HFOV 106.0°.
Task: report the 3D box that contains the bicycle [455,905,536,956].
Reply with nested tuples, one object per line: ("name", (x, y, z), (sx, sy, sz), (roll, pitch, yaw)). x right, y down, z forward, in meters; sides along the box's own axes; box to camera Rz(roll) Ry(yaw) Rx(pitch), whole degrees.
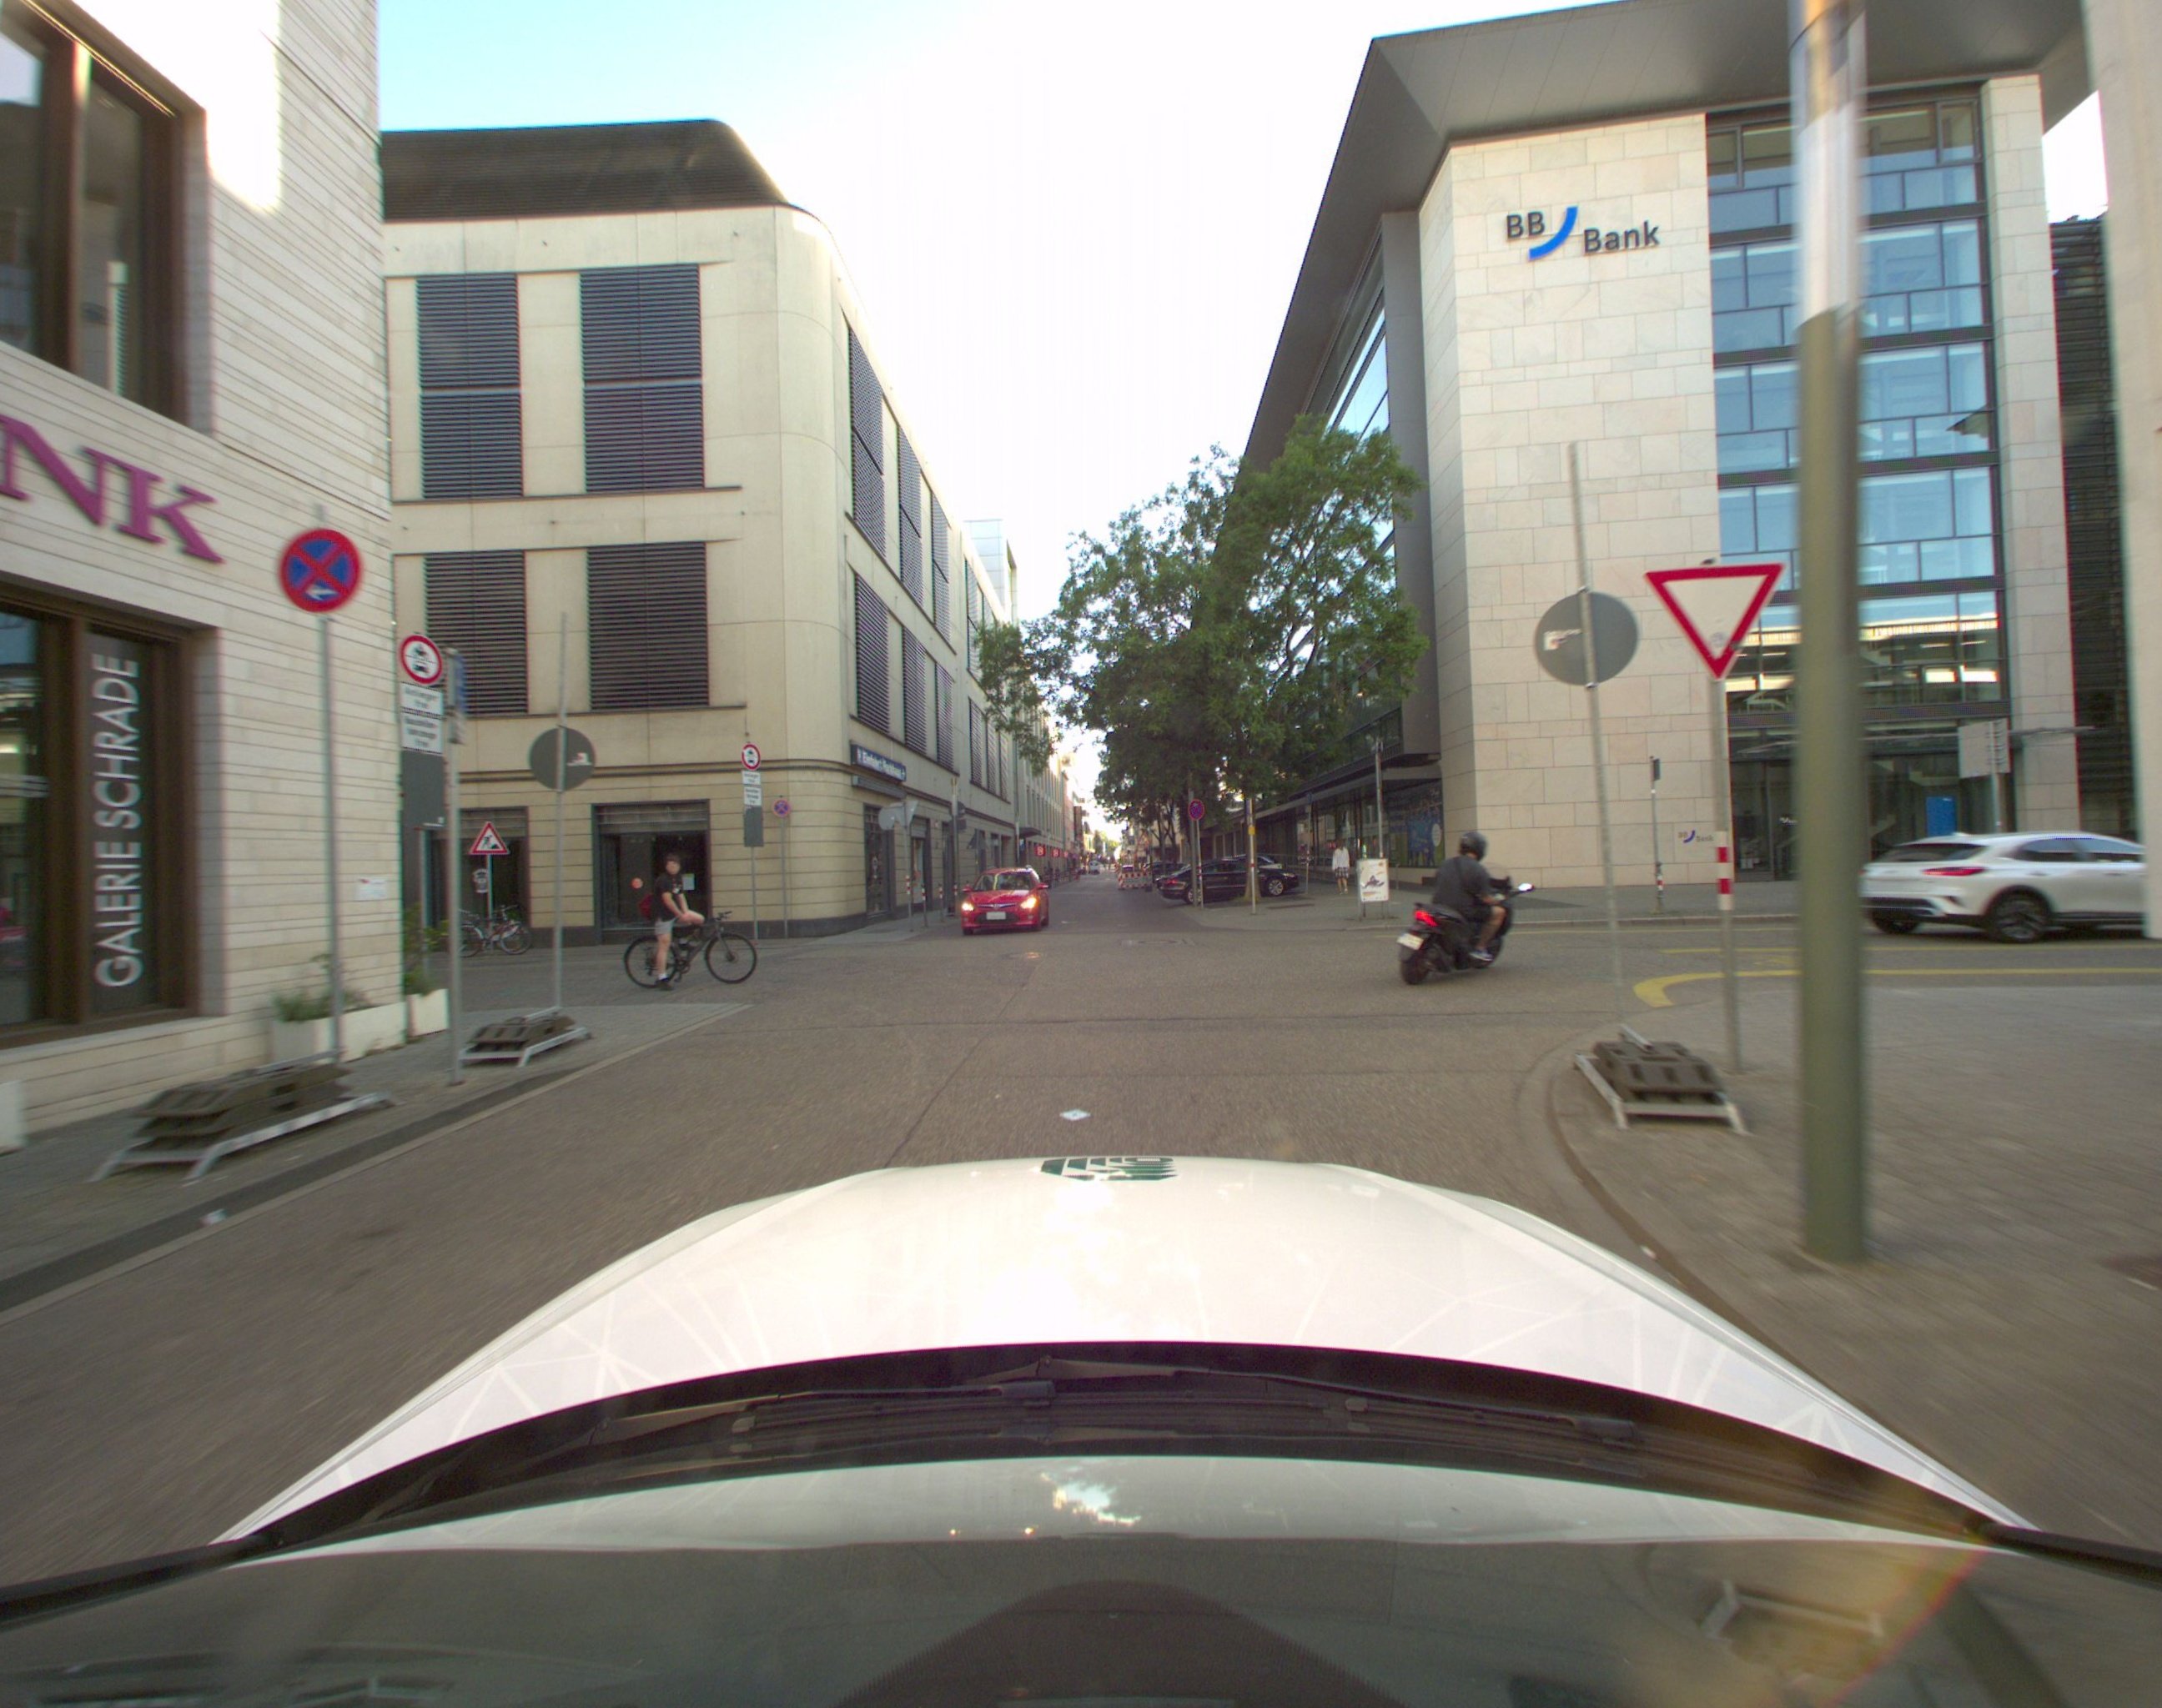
("bicycle", (-13.462, 1.747, 18.767), (0.348, 1.033, 1.527), (-3, -1, 23))

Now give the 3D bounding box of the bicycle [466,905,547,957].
("bicycle", (-13.107, 1.732, 18.625), (0.348, 1.033, 1.527), (-3, -1, 23))

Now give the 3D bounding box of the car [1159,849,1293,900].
("car", (5.830, 0.830, 33.159), (4.988, 1.499, 2.000), (-6, -1, 0))

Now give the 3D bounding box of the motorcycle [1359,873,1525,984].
("motorcycle", (4.101, 0.787, 9.219), (1.847, 1.109, 0.866), (0, -2, -35))

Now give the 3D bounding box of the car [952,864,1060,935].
("car", (-1.663, 1.056, 19.561), (1.814, 1.465, 4.268), (-2, -2, 5))

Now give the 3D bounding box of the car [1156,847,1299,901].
("car", (5.465, 0.759, 30.901), (4.988, 1.499, 2.000), (-6, -1, 0))

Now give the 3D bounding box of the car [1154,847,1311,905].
("car", (5.192, 0.772, 28.422), (4.988, 1.452, 2.000), (-6, -1, 0))

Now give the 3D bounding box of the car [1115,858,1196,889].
("car", (4.779, 1.275, 52.790), (4.988, 1.499, 2.000), (-6, -1, 0))

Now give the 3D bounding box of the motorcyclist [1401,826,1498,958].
("motorcyclist", (4.191, 0.426, 9.302), (0.457, 1.427, 0.861), (0, -2, -33))

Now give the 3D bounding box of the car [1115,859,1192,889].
("car", (4.878, 1.364, 55.204), (4.988, 1.499, 2.000), (-6, -1, 0))

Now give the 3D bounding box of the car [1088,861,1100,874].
("car", (2.214, 2.321, 141.039), (1.987, 2.329, 5.020), (0, -1, 0))

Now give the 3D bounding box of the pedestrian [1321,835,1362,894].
("pedestrian", (8.032, 0.332, 25.148), (0.901, 1.706, 0.835), (-5, -2, 4))

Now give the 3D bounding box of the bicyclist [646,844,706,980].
("bicyclist", (-5.327, 0.742, 10.718), (0.549, 1.732, 0.500), (-1, -2, -6))

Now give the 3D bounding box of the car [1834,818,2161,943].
("car", (13.628, 0.316, 11.500), (4.233, 1.541, 1.829), (-2, 0, 1))

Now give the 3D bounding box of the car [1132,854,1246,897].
("car", (4.982, 1.011, 38.185), (4.988, 1.499, 2.000), (-6, -1, 0))

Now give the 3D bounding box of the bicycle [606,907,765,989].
("bicycle", (-5.172, 1.217, 10.720), (1.812, 0.974, 0.510), (-1, -2, -6))

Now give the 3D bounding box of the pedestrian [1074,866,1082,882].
("pedestrian", (-0.281, 2.073, 84.170), (0.729, 1.574, 0.636), (-1, -2, 3))
